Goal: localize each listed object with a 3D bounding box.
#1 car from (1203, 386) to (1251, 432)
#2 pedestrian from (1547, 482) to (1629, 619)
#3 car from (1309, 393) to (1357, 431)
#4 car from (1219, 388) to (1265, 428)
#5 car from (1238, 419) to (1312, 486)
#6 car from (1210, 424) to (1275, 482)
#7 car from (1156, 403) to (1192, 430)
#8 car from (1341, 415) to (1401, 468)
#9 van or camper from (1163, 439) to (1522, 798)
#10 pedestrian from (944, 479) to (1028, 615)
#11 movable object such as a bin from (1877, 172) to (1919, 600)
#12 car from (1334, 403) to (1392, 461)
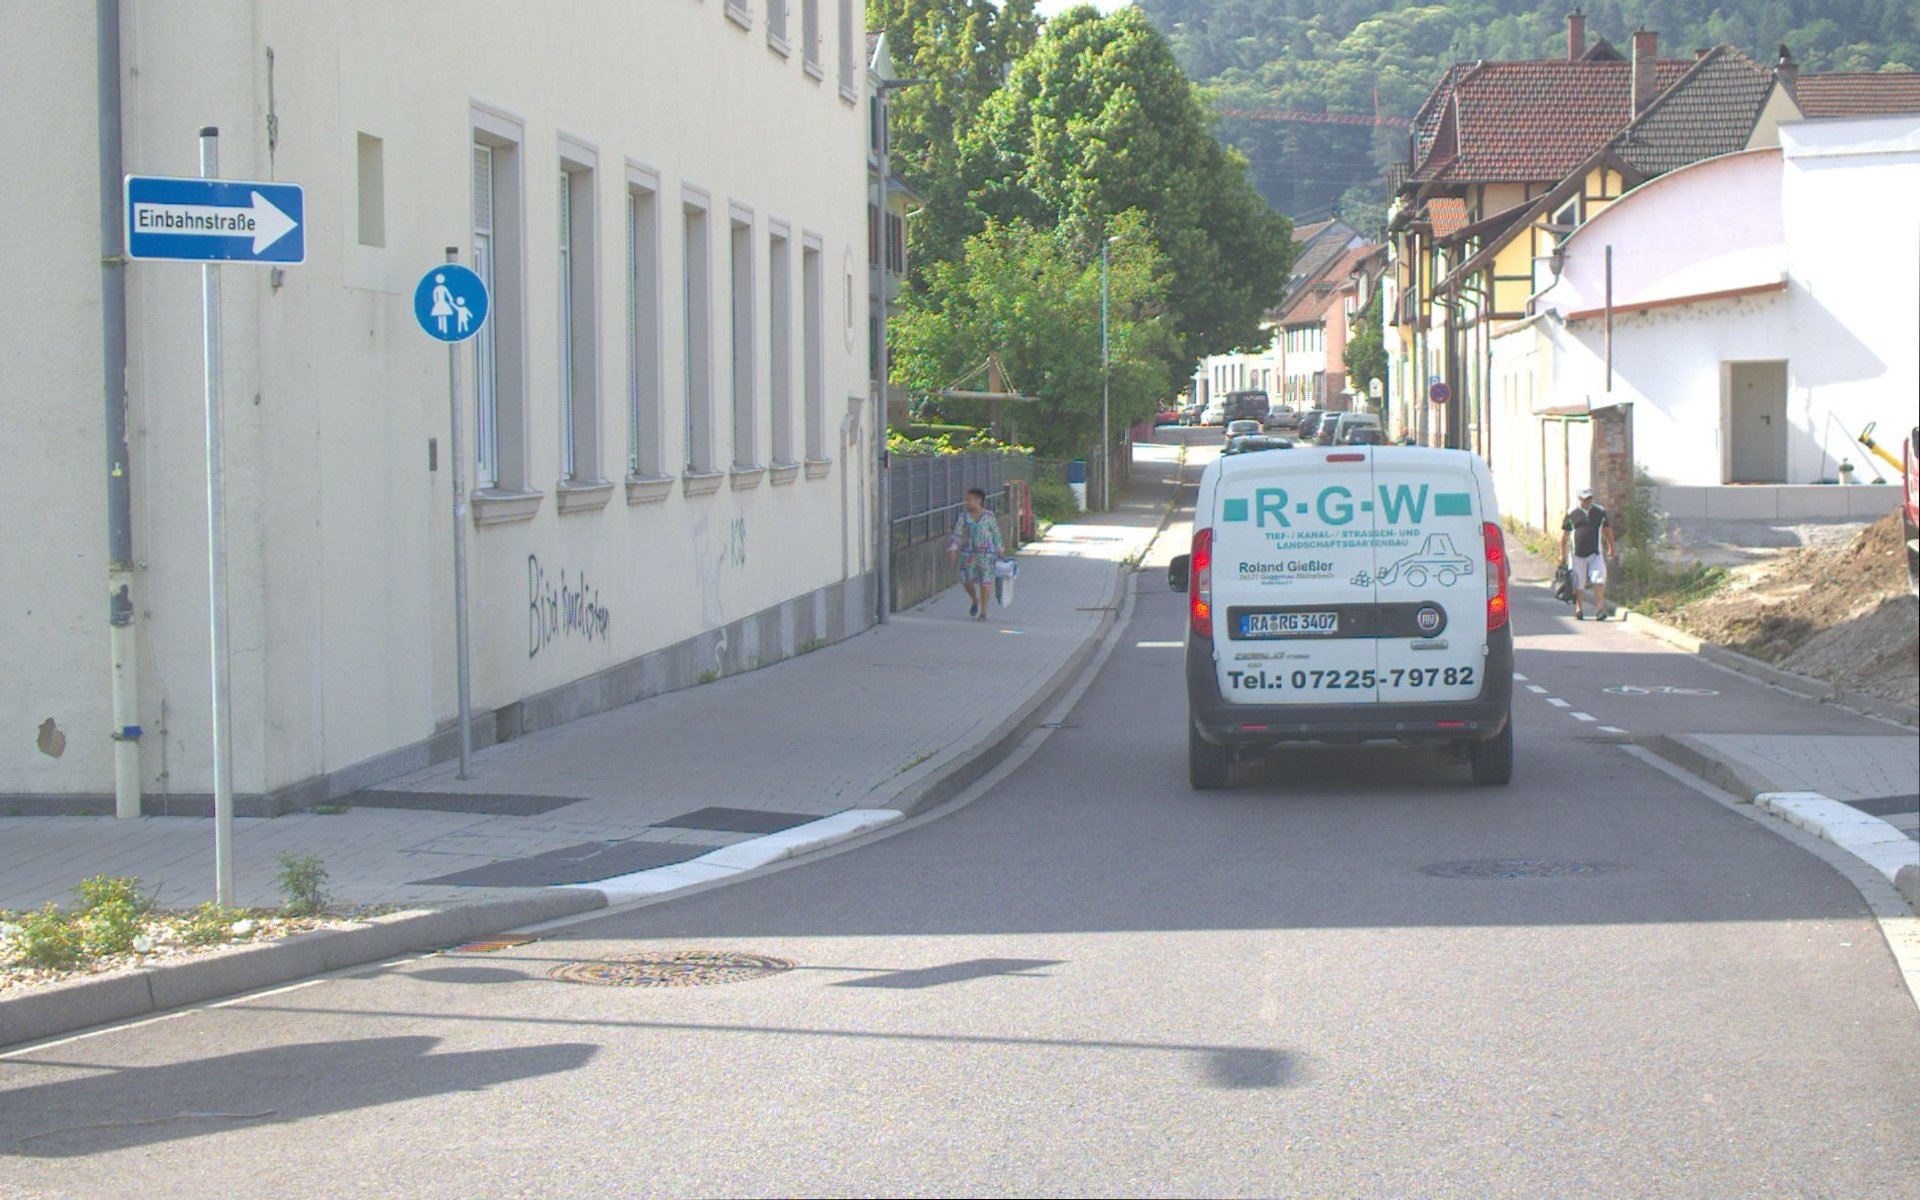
[{"bbox_3d":[17.077,-12.234,220.091,2.875,2.825,6.125,-1,3,3],"label":"car"},{"bbox_3d":[7.865,-0.627,43.093,0.888,1.677,0.718,2,2,5],"label":"pedestrian"},{"bbox_3d":[15.109,-7.634,139.410,1.669,1.502,4.000,-1,3,3],"label":"car"},{"bbox_3d":[11.837,-8.080,144.292,1.811,1.591,3.927,2,4,5],"label":"car"},{"bbox_3d":[8.179,-3.854,89.223,1.811,1.591,3.927,2,4,5],"label":"car"},{"bbox_3d":[8.606,-4.505,104.971,1.811,1.591,3.927,2,4,3],"label":"car"},{"bbox_3d":[14.524,-12.461,233.416,1.771,1.792,4.002,-1,3,-6],"label":"car"},{"bbox_3d":[13.510,-5.228,113.092,1.811,1.591,3.927,2,4,5],"label":"car"},{"bbox_3d":[2.156,0.053,20.041,1.828,1.838,4.188,-1,1,4],"label":"van or camper"},{"bbox_3d":[0.321,-0.654,41.966,0.958,1.625,0.758,1,2,5],"label":"pedestrian"},{"bbox_3d":[9.509,-1.845,29.307,2.296,3.840,7.797,2,3,9],"label":"movable object such as a bin"},{"bbox_3d":[14.426,-6.023,123.176,1.871,2.006,4.000,1,4,4],"label":"car"}]
